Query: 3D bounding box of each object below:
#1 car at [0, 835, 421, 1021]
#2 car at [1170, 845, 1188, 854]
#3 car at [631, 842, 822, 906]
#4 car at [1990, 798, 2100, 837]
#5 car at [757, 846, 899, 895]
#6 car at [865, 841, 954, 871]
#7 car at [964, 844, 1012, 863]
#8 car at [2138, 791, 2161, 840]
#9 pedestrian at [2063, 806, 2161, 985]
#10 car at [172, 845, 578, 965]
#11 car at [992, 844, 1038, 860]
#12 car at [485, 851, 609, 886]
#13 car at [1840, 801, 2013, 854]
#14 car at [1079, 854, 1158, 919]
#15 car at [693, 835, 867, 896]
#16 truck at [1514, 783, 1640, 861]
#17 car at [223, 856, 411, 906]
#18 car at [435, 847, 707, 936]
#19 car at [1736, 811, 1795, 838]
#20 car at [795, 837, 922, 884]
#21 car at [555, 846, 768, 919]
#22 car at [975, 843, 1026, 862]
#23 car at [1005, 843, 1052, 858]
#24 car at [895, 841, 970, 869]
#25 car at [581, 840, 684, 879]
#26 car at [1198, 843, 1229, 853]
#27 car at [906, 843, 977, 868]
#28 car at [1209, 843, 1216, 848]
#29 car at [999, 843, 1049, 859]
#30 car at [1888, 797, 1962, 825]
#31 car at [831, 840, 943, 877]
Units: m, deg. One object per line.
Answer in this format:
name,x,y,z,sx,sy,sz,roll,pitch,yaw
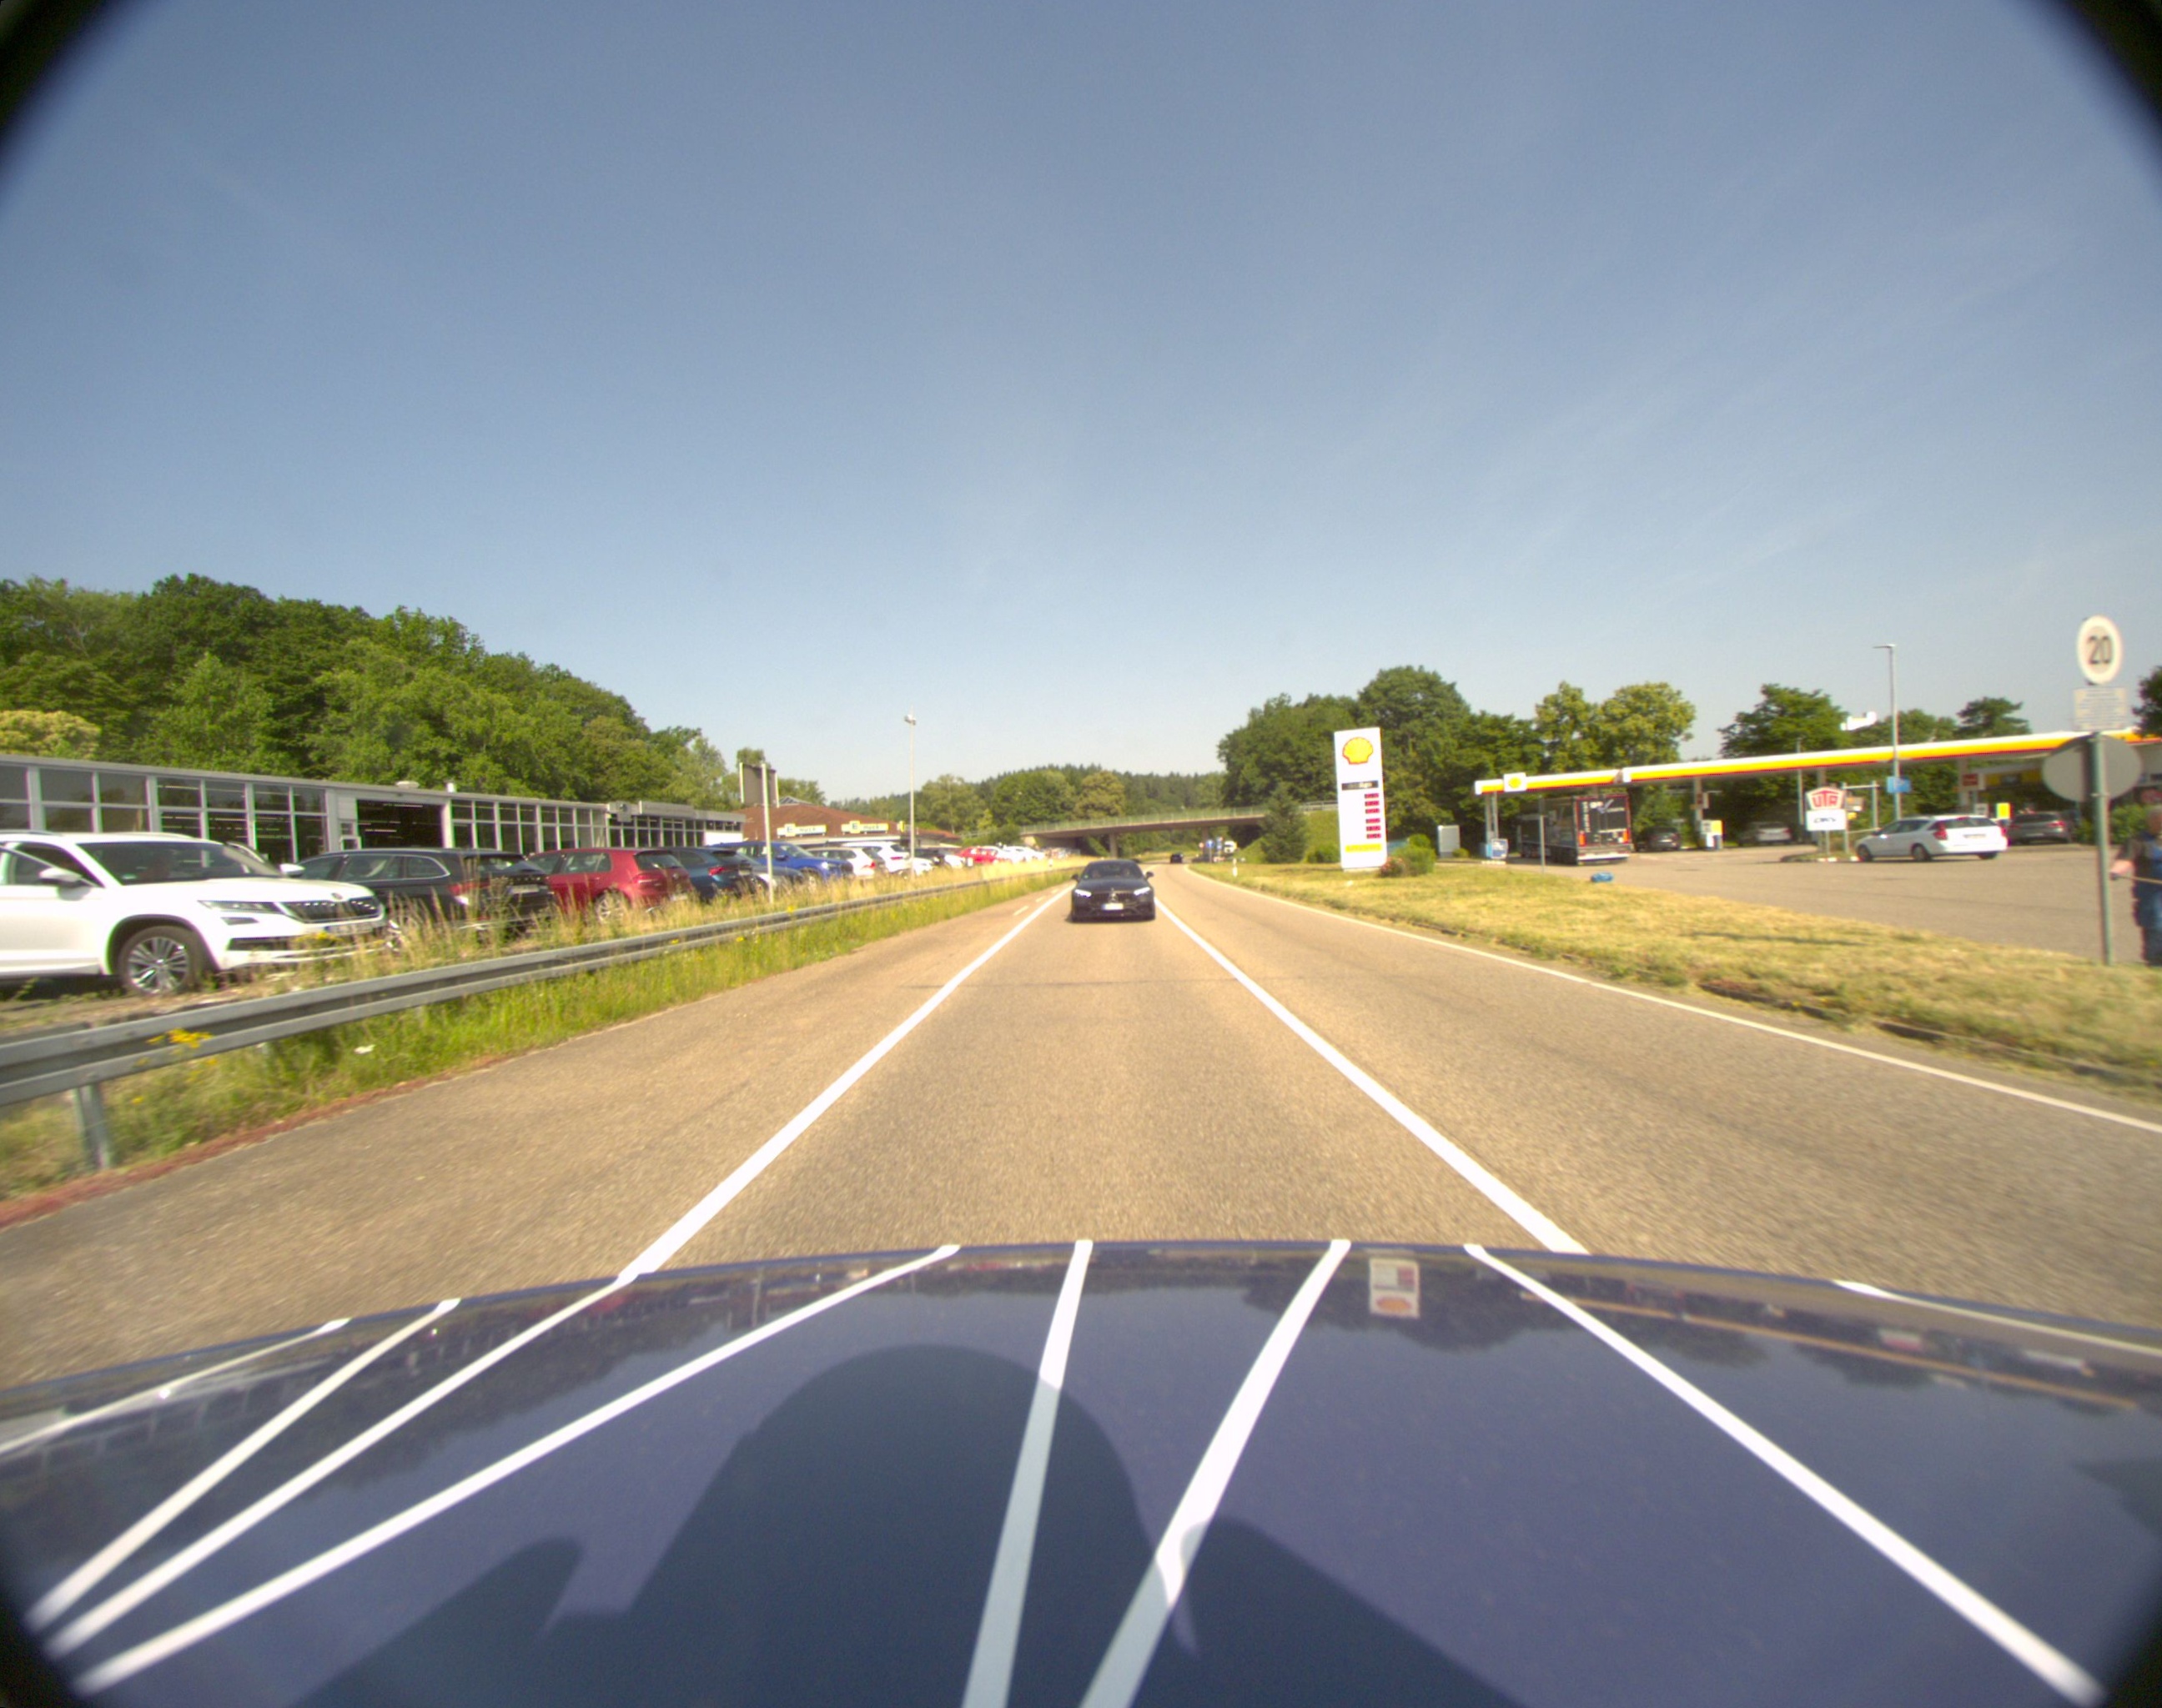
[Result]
car,-9.672,0.689,7.840,3.997,1.623,1.921,-2,1,1
car,14.536,-0.676,112.299,1.679,1.348,3.928,-1,1,21
car,-9.125,0.488,19.802,3.996,1.444,1.951,-2,1,3
car,43.942,-1.663,34.638,4.321,1.557,1.718,-2,0,-18
car,-8.313,0.517,25.184,4.047,1.499,1.806,-1,1,6
car,-9.273,0.086,41.264,4.294,1.543,2.032,-1,1,1
car,-7.556,-0.054,61.824,3.545,1.456,1.805,-1,1,5
car,35.049,-1.232,22.432,1.718,1.557,4.661,-2,0,11
pedestrian,10.705,0.364,7.449,0.848,1.680,1.145,-1,1,21
car,-9.878,0.662,10.894,3.996,1.444,1.951,-2,1,3
car,-6.131,-0.186,70.679,3.995,1.456,1.877,-1,1,5
car,-24.085,0.628,34.372,4.320,1.456,1.790,-1,1,2
car,28.294,-0.832,25.675,1.717,1.557,4.663,-2,0,17
car,0.943,0.715,18.812,1.715,1.382,4.148,-1,1,3
car,-8.948,0.330,22.805,4.365,1.630,1.951,-2,1,4
truck,31.508,-1.947,49.314,3.056,4.111,16.793,-1,1,20
car,-24.818,0.845,24.776,4.320,1.456,1.790,-1,1,2
car,-9.239,0.642,13.978,3.739,1.398,1.823,-2,1,3
car,45.234,-1.940,50.314,1.905,1.633,4.006,-3,1,27
car,-8.166,0.207,28.099,4.054,1.608,1.880,-1,1,6
car,-9.298,0.600,17.063,3.742,1.420,1.779,-2,1,3
car,-6.796,-0.153,64.305,3.995,1.456,1.877,-1,1,5
car,-5.398,-0.377,78.032,4.570,1.456,1.877,-1,1,5
car,-8.688,0.025,44.654,3.995,1.543,1.806,-1,1,5
car,-23.539,0.275,39.935,4.320,1.914,1.791,-1,1,3
car,15.409,-0.684,88.751,1.811,1.166,4.093,-1,1,-19
car,-8.696,0.105,47.579,3.995,1.456,1.877,-1,1,5
car,35.226,-2.241,203.851,1.680,1.348,3.924,-1,1,8
car,-5.539,-0.341,74.497,4.570,1.456,1.877,-1,1,5
car,50.939,-2.558,45.941,1.994,1.451,4.007,-3,1,33
car,-8.517,0.188,33.609,4.358,1.486,1.880,-1,1,5
